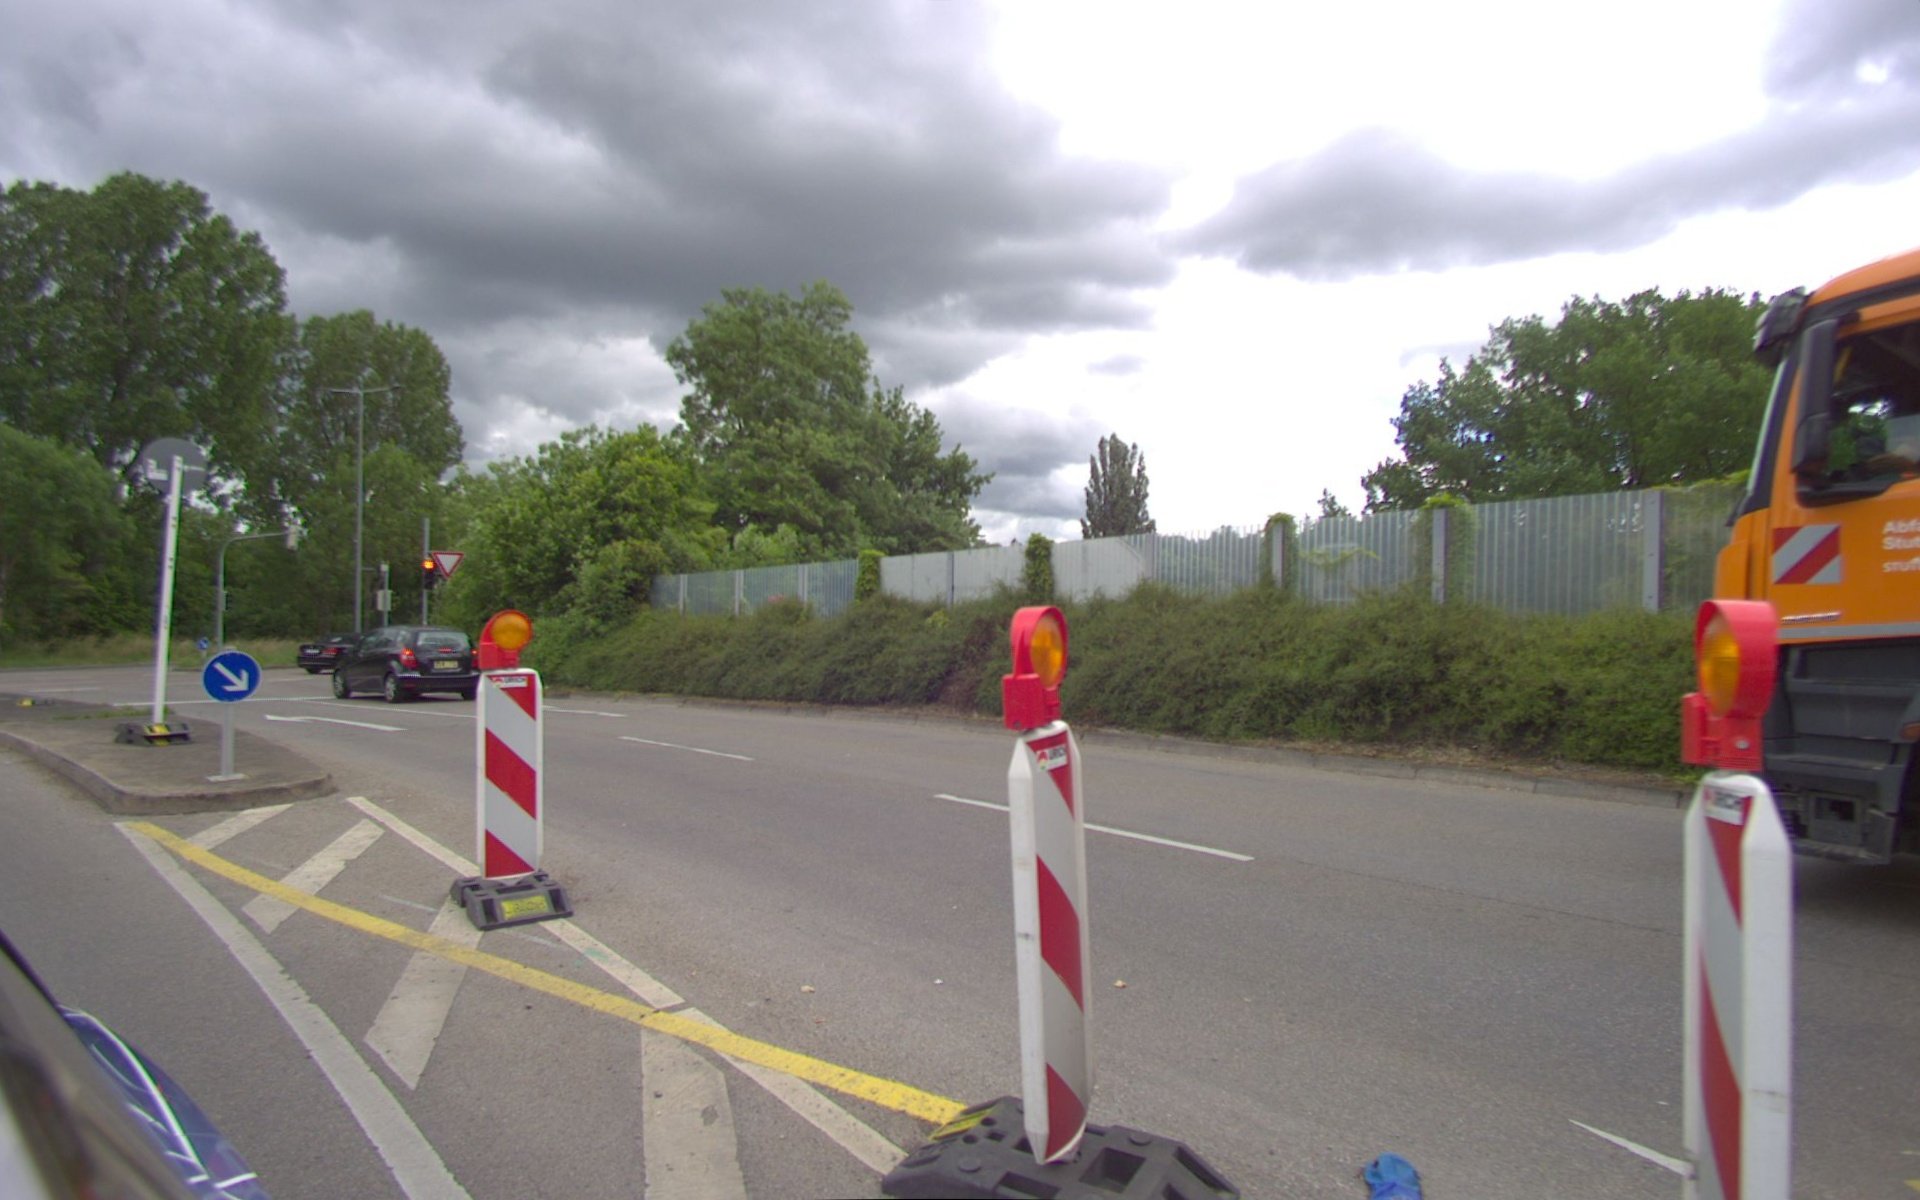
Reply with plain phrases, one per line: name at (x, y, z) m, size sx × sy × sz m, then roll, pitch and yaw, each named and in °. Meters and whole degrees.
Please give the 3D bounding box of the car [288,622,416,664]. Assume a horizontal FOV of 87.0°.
car at (-21.231, 1.476, 35.549) m, size 1.552 × 1.378 × 4.069 m, roll -1°, pitch -2°, yaw 11°

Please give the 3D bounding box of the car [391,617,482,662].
car at (-26.655, 1.968, 51.687) m, size 1.914 × 2.009 × 4.309 m, roll 2°, pitch 1°, yaw 10°

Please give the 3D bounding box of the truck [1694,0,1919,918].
truck at (7.735, -0.827, 1.905) m, size 3.070 × 4.253 × 9.813 m, roll 1°, pitch -1°, yaw -38°

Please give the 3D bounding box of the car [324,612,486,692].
car at (-11.950, 1.115, 21.718) m, size 3.783 × 1.564 × 1.622 m, roll -2°, pitch -4°, yaw 38°
